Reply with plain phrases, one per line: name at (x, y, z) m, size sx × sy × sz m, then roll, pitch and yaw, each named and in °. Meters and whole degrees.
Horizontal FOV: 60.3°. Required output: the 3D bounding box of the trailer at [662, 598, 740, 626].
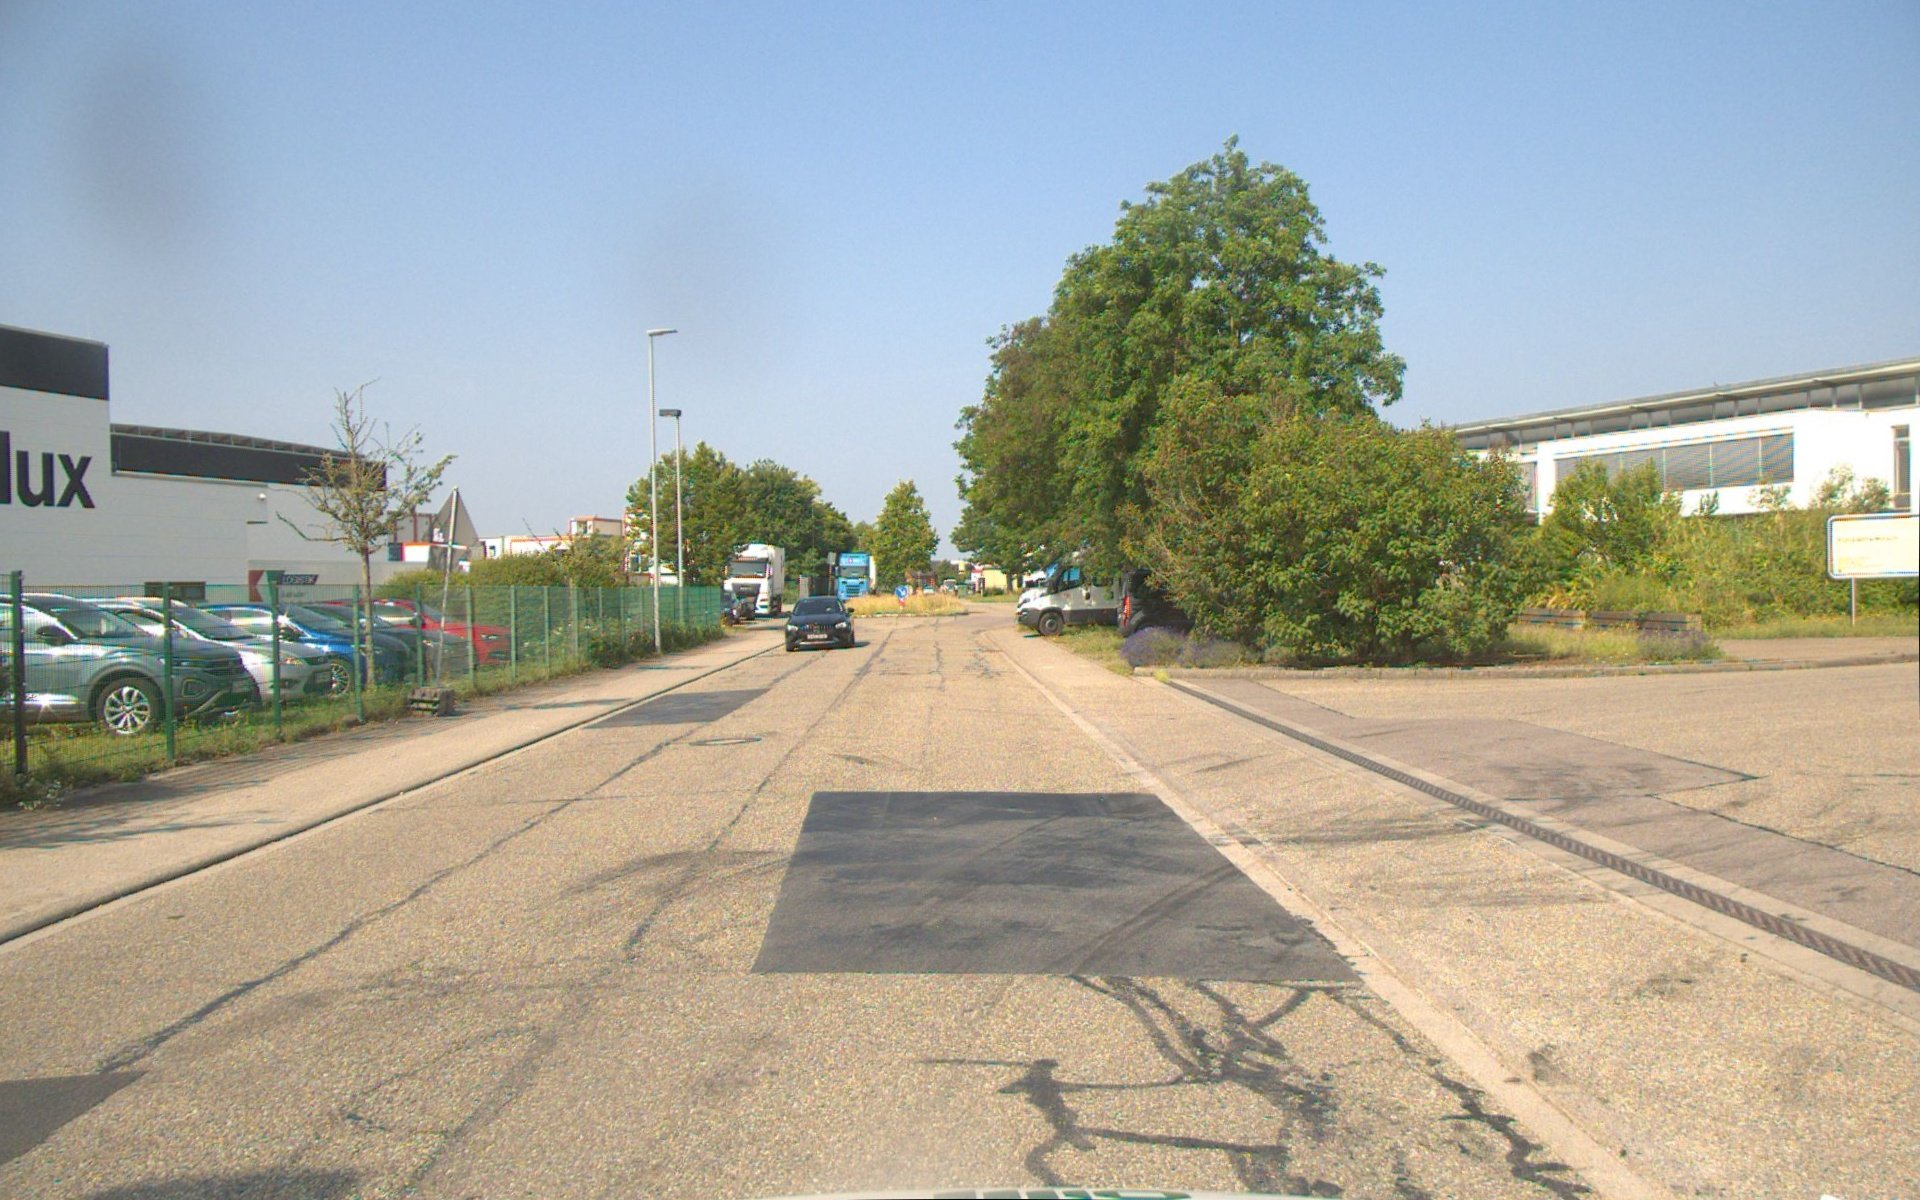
trailer at (-10.932, 0.481, 70.291) m, size 2.496 × 0.941 × 6.707 m, roll 2°, pitch 1°, yaw -2°

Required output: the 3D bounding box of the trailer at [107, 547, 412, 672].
trailer at (-25.377, 0.375, 61.335) m, size 2.429 × 4.112 × 13.898 m, roll 0°, pitch -1°, yaw 14°

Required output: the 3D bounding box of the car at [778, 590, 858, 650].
car at (-3.900, 0.521, 46.098) m, size 1.954 × 1.474 × 4.417 m, roll -4°, pitch 0°, yaw -3°

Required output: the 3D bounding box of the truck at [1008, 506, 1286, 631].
truck at (5.610, -0.932, 50.558) m, size 8.044 × 3.429 × 2.740 m, roll -2°, pitch -1°, yaw -2°

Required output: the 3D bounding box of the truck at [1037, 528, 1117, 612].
truck at (5.543, -1.343, 79.881) m, size 2.830 × 3.596 × 9.753 m, roll -5°, pitch 0°, yaw 0°

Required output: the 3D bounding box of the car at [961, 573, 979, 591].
car at (1.060, -1.916, 175.269) m, size 1.756 × 1.780 × 3.998 m, roll 1°, pitch -1°, yaw -2°

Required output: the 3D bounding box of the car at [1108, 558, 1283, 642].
car at (5.631, -0.012, 39.917) m, size 3.905 × 1.870 × 2.000 m, roll -2°, pitch 0°, yaw 0°

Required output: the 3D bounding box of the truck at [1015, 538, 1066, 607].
truck at (5.036, -1.704, 103.820) m, size 2.690 × 4.050 × 3.999 m, roll -4°, pitch 0°, yaw -1°

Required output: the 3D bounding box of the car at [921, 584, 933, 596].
car at (-4.995, -1.562, 252.928) m, size 1.684 × 1.690 × 3.821 m, roll 1°, pitch -1°, yaw -3°

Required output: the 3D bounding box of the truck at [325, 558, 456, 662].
truck at (-23.540, 0.427, 68.639) m, size 2.459 × 4.142 × 5.548 m, roll 0°, pitch -1°, yaw 14°

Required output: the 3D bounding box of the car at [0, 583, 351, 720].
car at (-10.113, 0.631, 21.077) m, size 3.959 × 1.469 × 1.873 m, roll -3°, pitch 0°, yaw -2°

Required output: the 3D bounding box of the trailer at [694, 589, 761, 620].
trailer at (-11.627, 0.195, 83.171) m, size 2.626 × 1.479 × 5.077 m, roll 0°, pitch 1°, yaw 0°

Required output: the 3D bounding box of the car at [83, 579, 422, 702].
car at (-9.999, 0.552, 23.620) m, size 3.959 × 1.469 × 1.873 m, roll -3°, pitch 0°, yaw -2°

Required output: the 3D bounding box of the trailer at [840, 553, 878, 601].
trailer at (-8.726, -1.888, 143.820) m, size 2.774 × 3.910 × 12.032 m, roll 1°, pitch -1°, yaw -1°

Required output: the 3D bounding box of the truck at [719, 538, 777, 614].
truck at (-11.480, -1.263, 89.690) m, size 2.654 × 3.990 × 4.295 m, roll 1°, pitch -1°, yaw -2°

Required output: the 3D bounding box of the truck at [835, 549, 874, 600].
truck at (-8.480, -2.010, 134.267) m, size 2.768 × 3.893 × 9.669 m, roll 1°, pitch -1°, yaw -1°

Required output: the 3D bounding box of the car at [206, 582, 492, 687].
car at (-9.977, 0.540, 27.241) m, size 3.959 × 1.469 × 1.873 m, roll -3°, pitch 0°, yaw -2°

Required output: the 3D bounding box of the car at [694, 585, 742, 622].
car at (-11.229, 0.139, 76.987) m, size 1.661 × 1.588 × 4.335 m, roll 1°, pitch 1°, yaw -1°

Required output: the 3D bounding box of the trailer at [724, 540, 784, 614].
trailer at (-11.620, -1.221, 93.953) m, size 2.645 × 3.990 × 7.572 m, roll 1°, pitch -1°, yaw -2°

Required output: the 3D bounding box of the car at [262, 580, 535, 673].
car at (-10.560, 0.487, 31.370) m, size 4.445 × 1.469 × 1.951 m, roll -3°, pitch 0°, yaw -2°

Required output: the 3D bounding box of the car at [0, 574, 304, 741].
car at (-9.574, 0.628, 18.022) m, size 4.044 × 1.595 × 1.864 m, roll -3°, pitch 0°, yaw -2°
